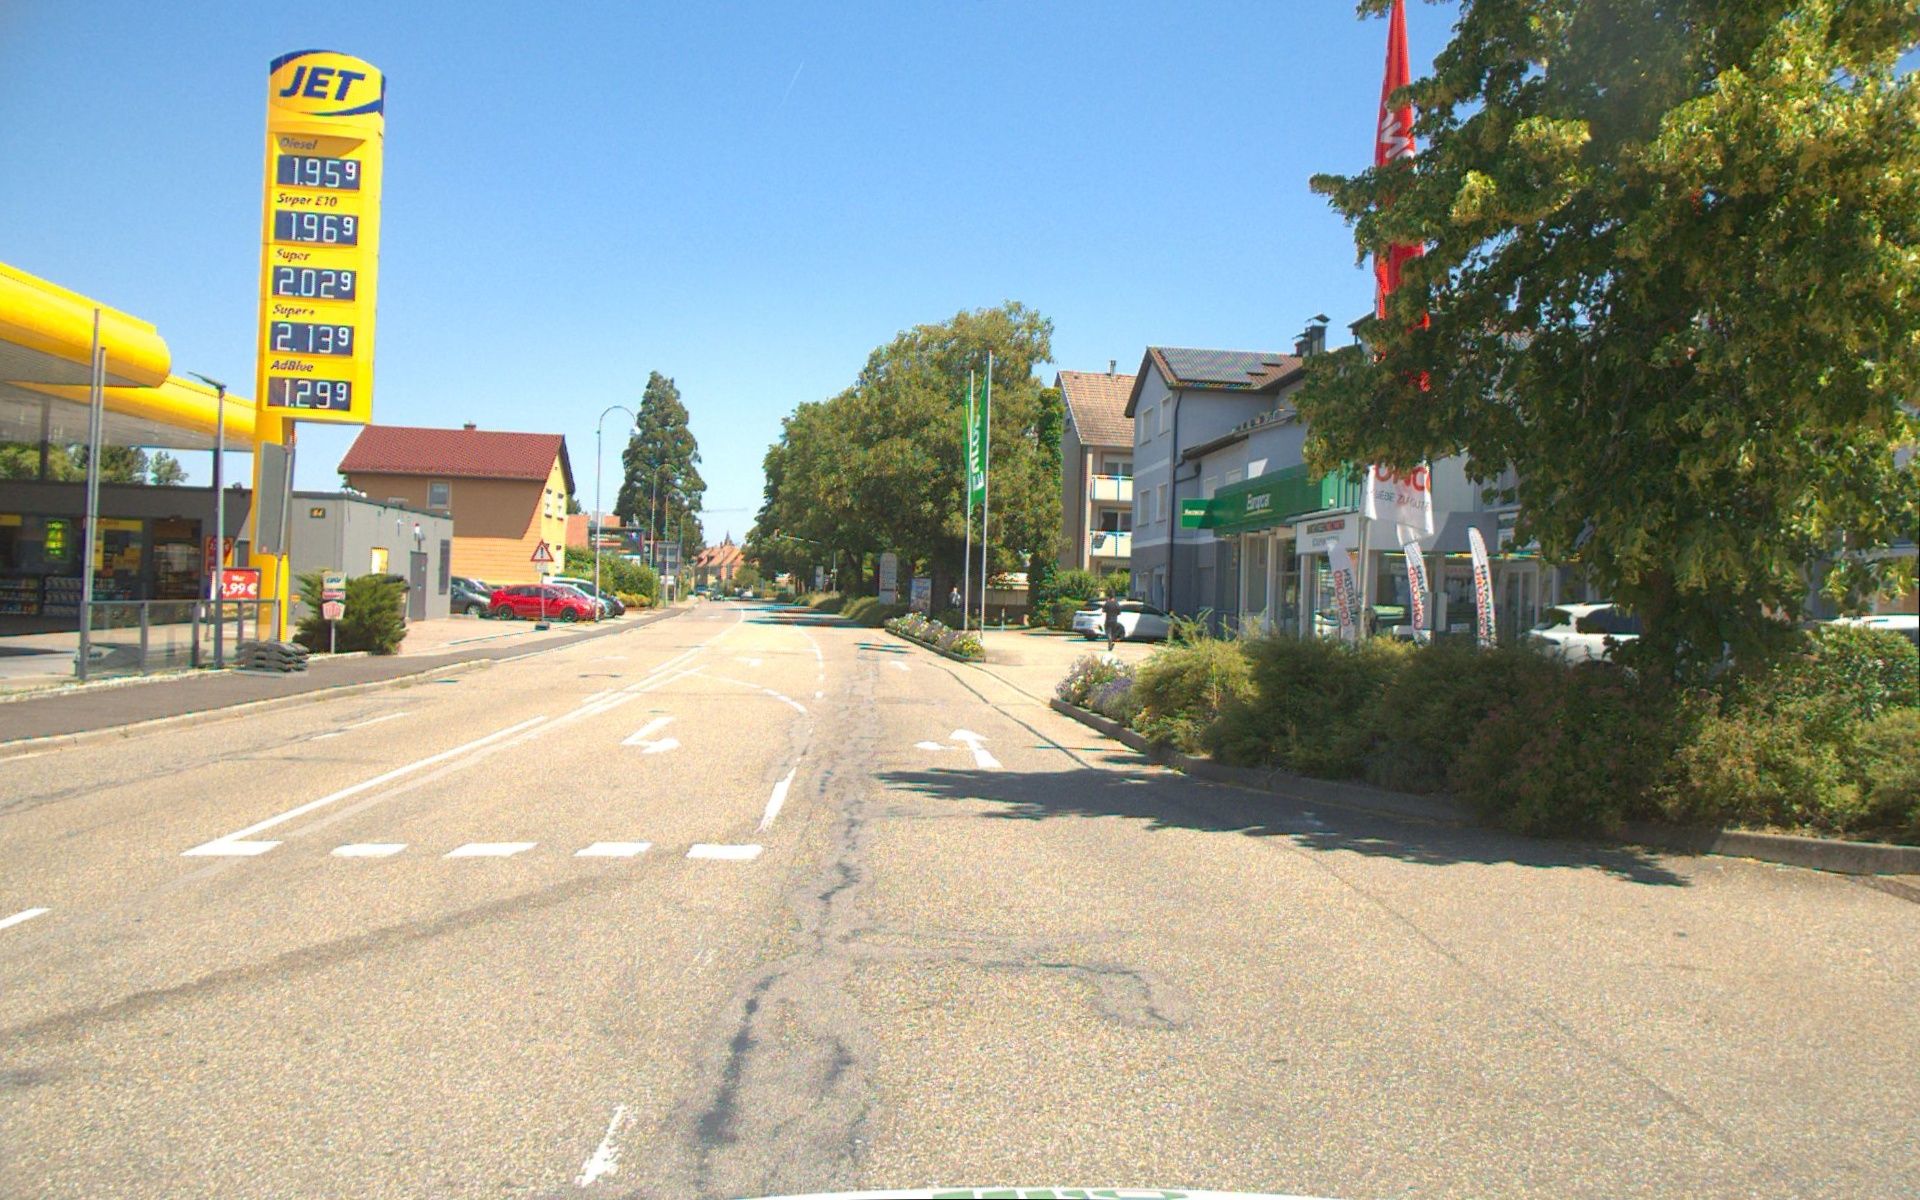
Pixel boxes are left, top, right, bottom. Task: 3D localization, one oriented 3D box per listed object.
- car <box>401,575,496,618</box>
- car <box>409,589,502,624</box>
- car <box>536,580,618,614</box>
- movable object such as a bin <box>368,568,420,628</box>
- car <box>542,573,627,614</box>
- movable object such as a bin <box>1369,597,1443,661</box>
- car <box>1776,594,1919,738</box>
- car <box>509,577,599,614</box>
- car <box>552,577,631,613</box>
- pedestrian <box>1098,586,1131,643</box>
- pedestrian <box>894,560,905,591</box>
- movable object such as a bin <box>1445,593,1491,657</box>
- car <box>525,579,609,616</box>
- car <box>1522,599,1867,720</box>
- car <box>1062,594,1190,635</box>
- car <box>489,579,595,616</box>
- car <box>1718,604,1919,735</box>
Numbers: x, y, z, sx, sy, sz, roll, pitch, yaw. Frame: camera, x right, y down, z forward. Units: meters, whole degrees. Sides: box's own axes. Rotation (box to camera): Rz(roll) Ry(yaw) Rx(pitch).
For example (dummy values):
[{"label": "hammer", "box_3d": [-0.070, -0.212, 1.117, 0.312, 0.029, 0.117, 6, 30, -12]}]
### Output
[{"label": "car", "box_3d": [-21.691, -0.154, 70.271, 3.596, 1.739, 1.888, 1, 0, -9]}, {"label": "car", "box_3d": [-22.000, 0.281, 72.252, 3.596, 1.483, 1.889, 1, 0, -9]}, {"label": "car", "box_3d": [-18.051, -0.143, 78.107, 3.596, 1.558, 1.918, 1, 0, -9]}, {"label": "movable object such as a bin", "box_3d": [-15.642, -0.068, 45.772, 0.934, 1.543, 1.426, 5, 1, -6]}, {"label": "car", "box_3d": [-18.669, -0.321, 82.439, 4.021, 1.931, 1.994, 1, 0, -12]}, {"label": "movable object such as a bin", "box_3d": [10.492, 0.675, 38.970, 1.531, 1.447, 0.702, -2, 1, 1]}, {"label": "car", "box_3d": [11.221, 0.711, 17.920, 3.902, 1.486, 1.807, 1, 0, 9]}, {"label": "car", "box_3d": [-17.504, -0.192, 71.501, 3.596, 1.483, 1.889, 1, 0, -9]}, {"label": "car", "box_3d": [-17.906, -0.240, 80.429, 3.596, 1.701, 1.918, 1, 0, -9]}, {"label": "pedestrian", "box_3d": [4.572, 0.419, 48.951, 0.823, 1.670, 1.009, 1, 0, -2]}, {"label": "pedestrian", "box_3d": [-3.865, -1.582, 105.622, 0.690, 1.948, 0.659, 1, 0, -4]}, {"label": "movable object such as a bin", "box_3d": [11.964, 0.590, 38.964, 0.835, 1.470, 0.702, -2, 0, 1]}, {"label": "car", "box_3d": [-18.034, -0.124, 75.994, 3.596, 1.608, 1.918, 1, 0, -9]}, {"label": "car", "box_3d": [11.029, 0.851, 25.186, 4.484, 1.670, 2.002, 1, 0, 13]}, {"label": "car", "box_3d": [5.999, 0.532, 59.595, 4.296, 1.395, 1.937, 1, 0, -30]}, {"label": "car", "box_3d": [-17.359, -0.104, 68.839, 4.048, 1.469, 1.824, 1, 0, -8]}, {"label": "car", "box_3d": [11.714, 0.842, 20.691, 3.772, 1.560, 1.679, 0, 0, 12]}]
